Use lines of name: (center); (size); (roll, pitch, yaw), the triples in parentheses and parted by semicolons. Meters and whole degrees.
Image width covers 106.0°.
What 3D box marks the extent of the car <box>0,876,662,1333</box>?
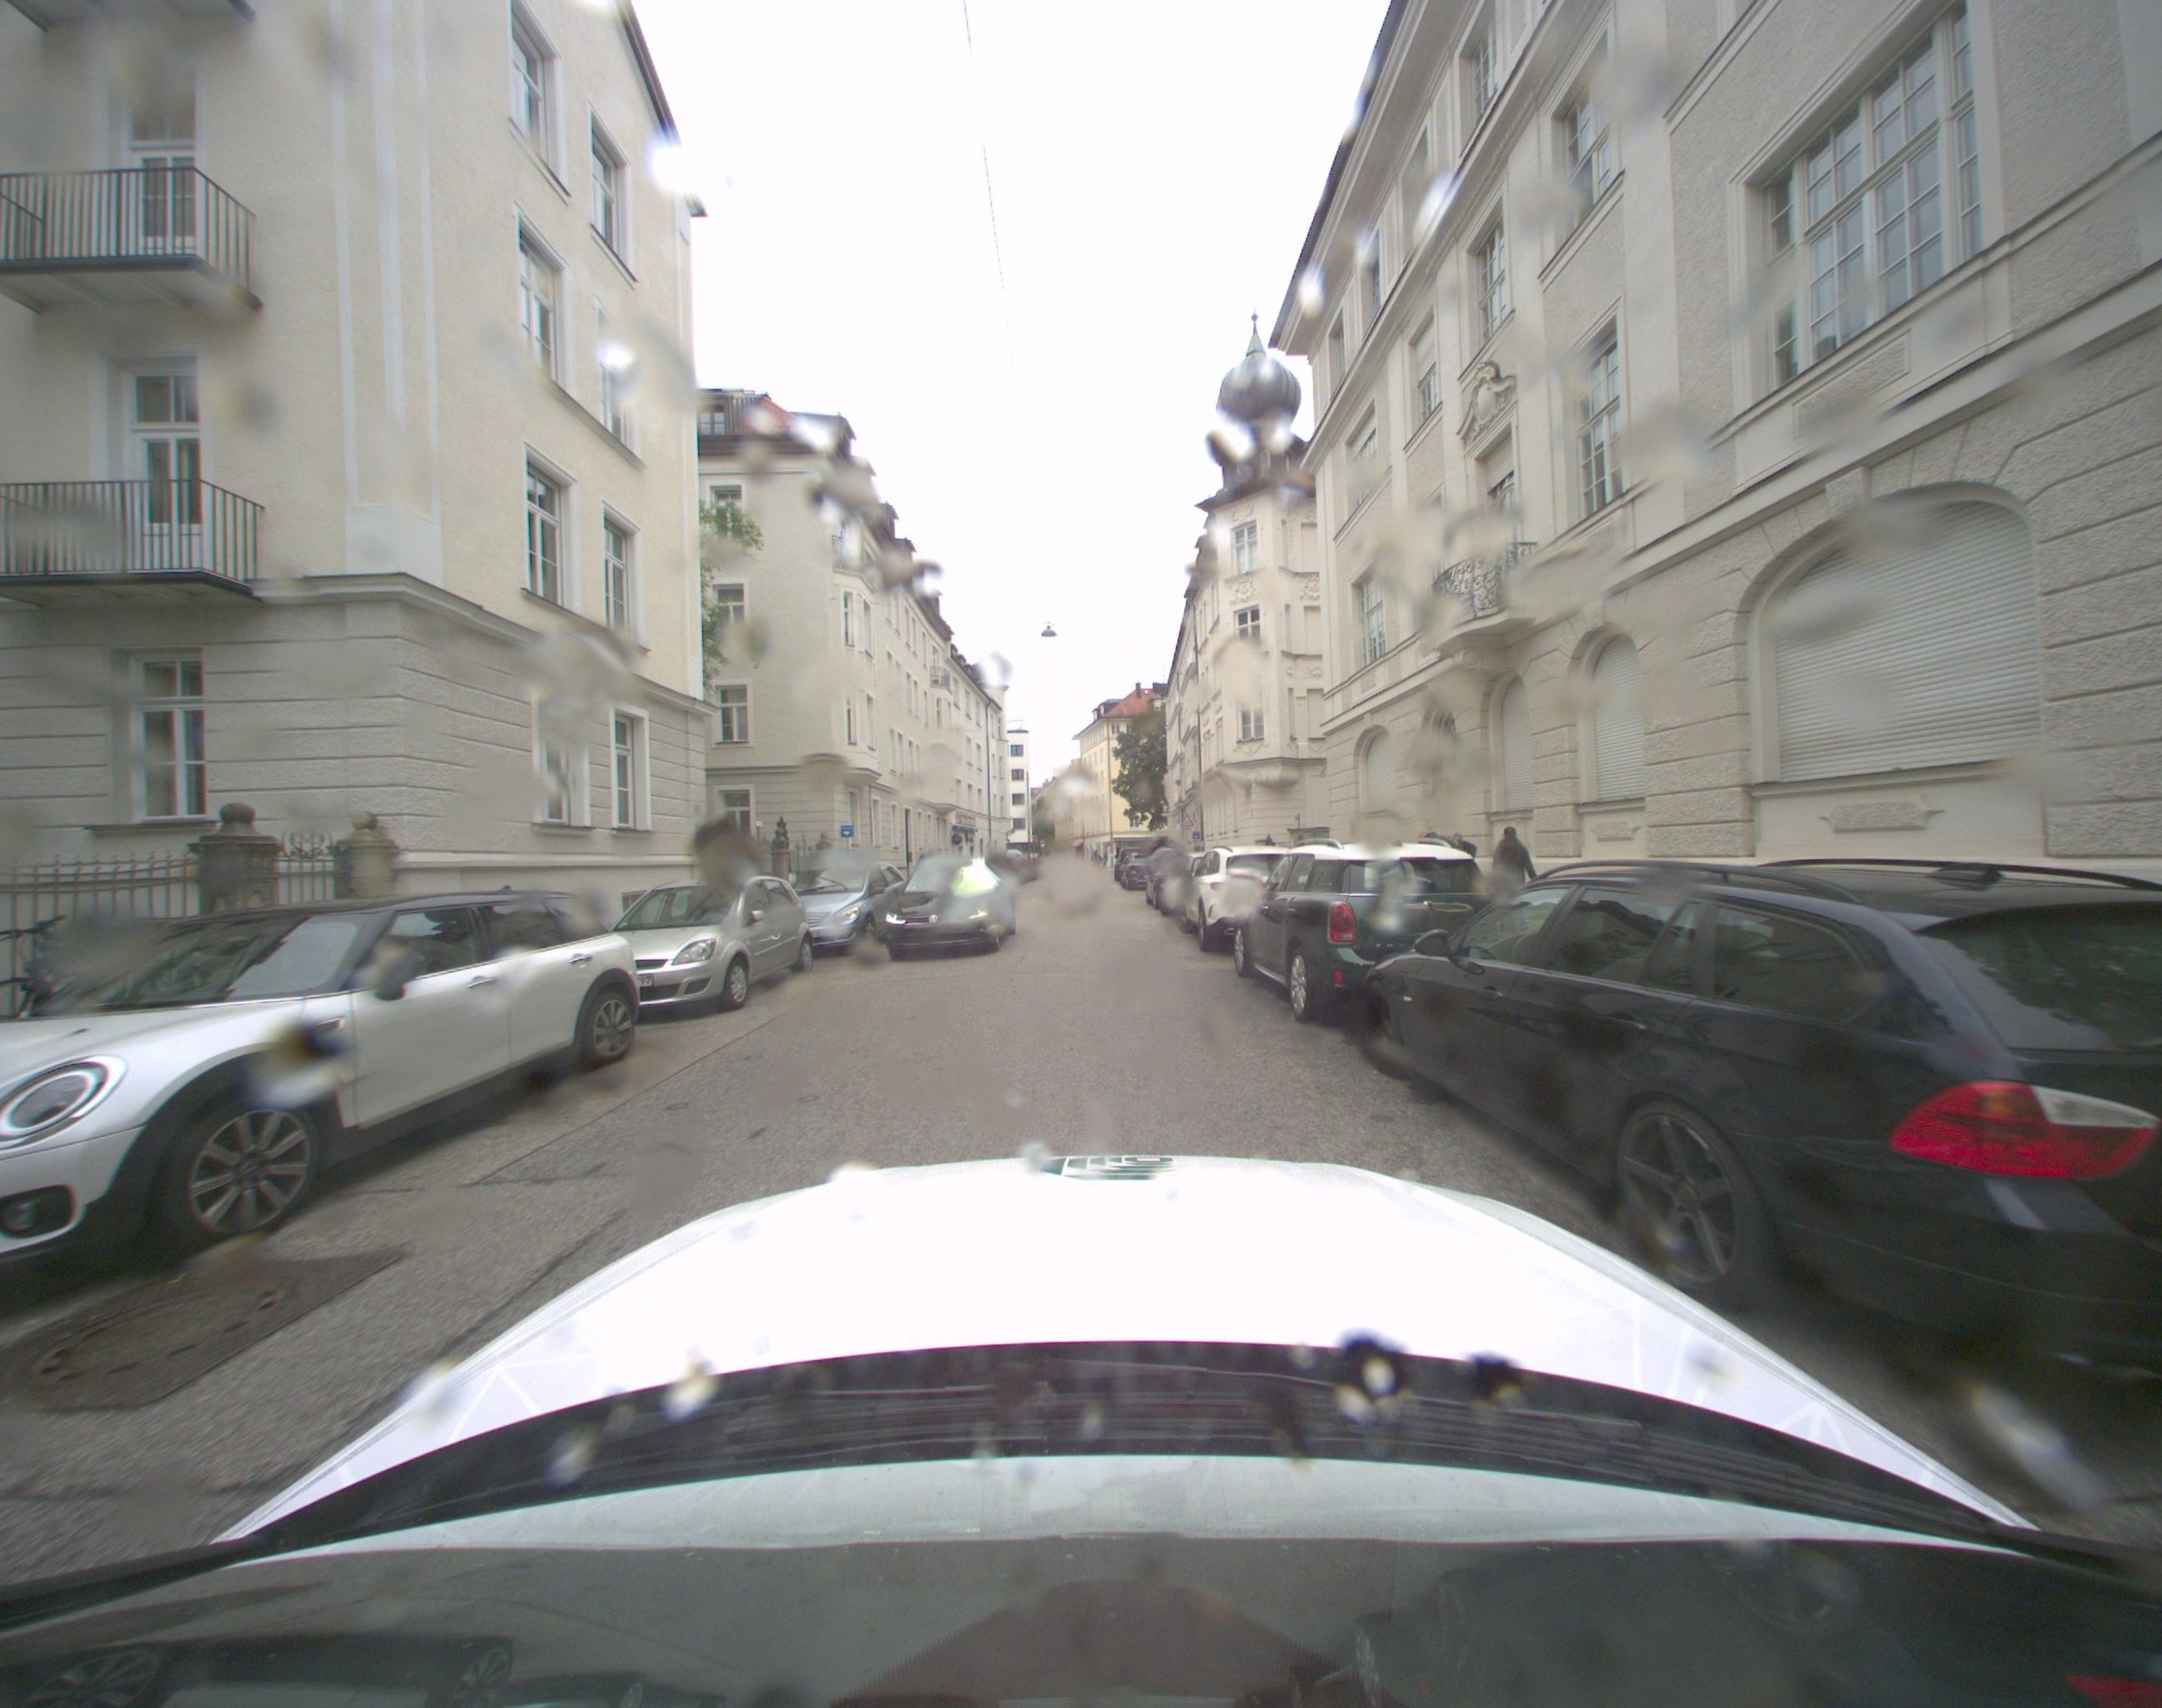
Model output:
car: (-4.446, 0.938, 4.819); (1.791, 1.435, 4.079); (-2, 0, 0)

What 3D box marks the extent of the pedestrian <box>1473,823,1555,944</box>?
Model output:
pedestrian: (6.362, 0.409, 12.010); (0.680, 1.678, 0.812); (-4, 1, -1)

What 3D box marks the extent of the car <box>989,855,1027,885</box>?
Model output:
car: (-4.028, 0.848, 45.501); (1.736, 1.486, 4.180); (-2, 1, 0)

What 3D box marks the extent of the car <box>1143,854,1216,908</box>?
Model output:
car: (2.805, 0.714, 23.891); (1.607, 1.395, 3.999); (0, 1, -1)

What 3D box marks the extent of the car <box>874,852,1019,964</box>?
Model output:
car: (-2.163, 0.799, 14.223); (1.718, 1.533, 4.086); (-4, 0, 0)

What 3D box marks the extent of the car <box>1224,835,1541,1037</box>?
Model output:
car: (2.719, 0.612, 8.431); (1.743, 1.525, 4.170); (-1, 1, 0)

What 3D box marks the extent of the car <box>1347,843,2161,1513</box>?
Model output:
car: (2.837, 0.700, 3.949); (1.706, 1.451, 4.224); (-1, 1, 0)

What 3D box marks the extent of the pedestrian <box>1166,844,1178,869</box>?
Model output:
pedestrian: (6.311, 0.156, 56.490); (0.678, 1.674, 0.654); (-4, 0, -2)

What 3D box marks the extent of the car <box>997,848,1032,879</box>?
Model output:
car: (-4.045, 0.523, 50.100); (1.741, 1.673, 4.274); (-5, 1, -1)

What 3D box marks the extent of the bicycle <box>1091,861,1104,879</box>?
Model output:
bicycle: (0.995, 0.951, 48.254); (0.636, 1.004, 1.576); (-2, 0, 4)

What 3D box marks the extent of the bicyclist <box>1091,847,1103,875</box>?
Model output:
bicyclist: (0.972, 0.413, 48.306); (0.603, 1.606, 0.758); (-2, 1, 4)

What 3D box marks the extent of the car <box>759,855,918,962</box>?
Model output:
car: (-4.444, 0.909, 15.590); (1.691, 1.580, 4.062); (-4, 1, 0)

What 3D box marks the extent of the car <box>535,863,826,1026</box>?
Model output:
car: (-4.577, 0.915, 10.050); (1.641, 1.403, 3.997); (-4, 1, -2)

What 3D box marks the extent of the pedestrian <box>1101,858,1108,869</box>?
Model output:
pedestrian: (2.790, 1.175, 96.706); (0.696, 1.270, 0.652); (-3, 0, 4)

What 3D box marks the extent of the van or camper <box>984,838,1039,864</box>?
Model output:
van or camper: (-7.735, -0.310, 90.106); (5.901, 2.677, 1.868); (-2, -1, -8)

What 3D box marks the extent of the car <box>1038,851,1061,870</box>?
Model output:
car: (-2.846, 0.579, 74.027); (1.670, 1.597, 3.947); (-4, 0, 2)

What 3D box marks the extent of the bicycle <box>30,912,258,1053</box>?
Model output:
bicycle: (-8.583, 1.129, 7.547); (0.430, 1.061, 1.420); (2, 1, 1)

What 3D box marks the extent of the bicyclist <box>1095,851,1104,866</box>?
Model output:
bicyclist: (2.118, 0.486, 92.343); (0.782, 1.637, 0.971); (-1, 0, -14)

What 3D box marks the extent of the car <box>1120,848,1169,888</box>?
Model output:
car: (2.656, 0.558, 35.051); (1.702, 1.587, 3.998); (0, 1, -1)

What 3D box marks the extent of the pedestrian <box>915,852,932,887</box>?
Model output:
pedestrian: (-7.935, 0.769, 41.083); (0.696, 1.707, 0.665); (-2, 0, -2)

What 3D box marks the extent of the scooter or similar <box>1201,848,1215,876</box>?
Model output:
scooter or similar: (6.064, 0.368, 38.939); (0.537, 1.287, 1.507); (-4, 0, 8)

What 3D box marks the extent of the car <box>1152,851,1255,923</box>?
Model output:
car: (2.807, 0.699, 19.543); (1.704, 1.501, 3.996); (-1, 0, -3)

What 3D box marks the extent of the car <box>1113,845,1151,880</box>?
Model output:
car: (2.881, 0.427, 46.898); (1.904, 1.885, 4.714); (0, 1, 0)

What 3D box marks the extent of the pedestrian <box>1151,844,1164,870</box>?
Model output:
pedestrian: (5.271, 0.195, 55.939); (0.701, 1.728, 0.703); (-3, 0, -2)

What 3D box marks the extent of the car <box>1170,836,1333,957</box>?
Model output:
car: (2.655, 0.563, 13.737); (1.889, 1.636, 4.393); (-2, 1, 1)

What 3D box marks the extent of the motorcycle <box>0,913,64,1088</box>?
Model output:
motorcycle: (-8.228, 1.082, 5.392); (0.702, 1.249, 1.820); (0, 0, -1)

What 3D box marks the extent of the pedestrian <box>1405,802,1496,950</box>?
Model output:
pedestrian: (4.726, 0.264, 10.472); (0.680, 1.775, 0.855); (-4, 1, 1)

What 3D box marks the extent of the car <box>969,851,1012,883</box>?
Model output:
car: (-4.438, 0.604, 40.314); (1.807, 1.385, 4.438); (-3, 1, -3)

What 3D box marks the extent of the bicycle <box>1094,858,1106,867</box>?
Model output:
bicycle: (2.133, 0.982, 92.335); (0.848, 1.001, 2.159); (-2, 1, -14)
